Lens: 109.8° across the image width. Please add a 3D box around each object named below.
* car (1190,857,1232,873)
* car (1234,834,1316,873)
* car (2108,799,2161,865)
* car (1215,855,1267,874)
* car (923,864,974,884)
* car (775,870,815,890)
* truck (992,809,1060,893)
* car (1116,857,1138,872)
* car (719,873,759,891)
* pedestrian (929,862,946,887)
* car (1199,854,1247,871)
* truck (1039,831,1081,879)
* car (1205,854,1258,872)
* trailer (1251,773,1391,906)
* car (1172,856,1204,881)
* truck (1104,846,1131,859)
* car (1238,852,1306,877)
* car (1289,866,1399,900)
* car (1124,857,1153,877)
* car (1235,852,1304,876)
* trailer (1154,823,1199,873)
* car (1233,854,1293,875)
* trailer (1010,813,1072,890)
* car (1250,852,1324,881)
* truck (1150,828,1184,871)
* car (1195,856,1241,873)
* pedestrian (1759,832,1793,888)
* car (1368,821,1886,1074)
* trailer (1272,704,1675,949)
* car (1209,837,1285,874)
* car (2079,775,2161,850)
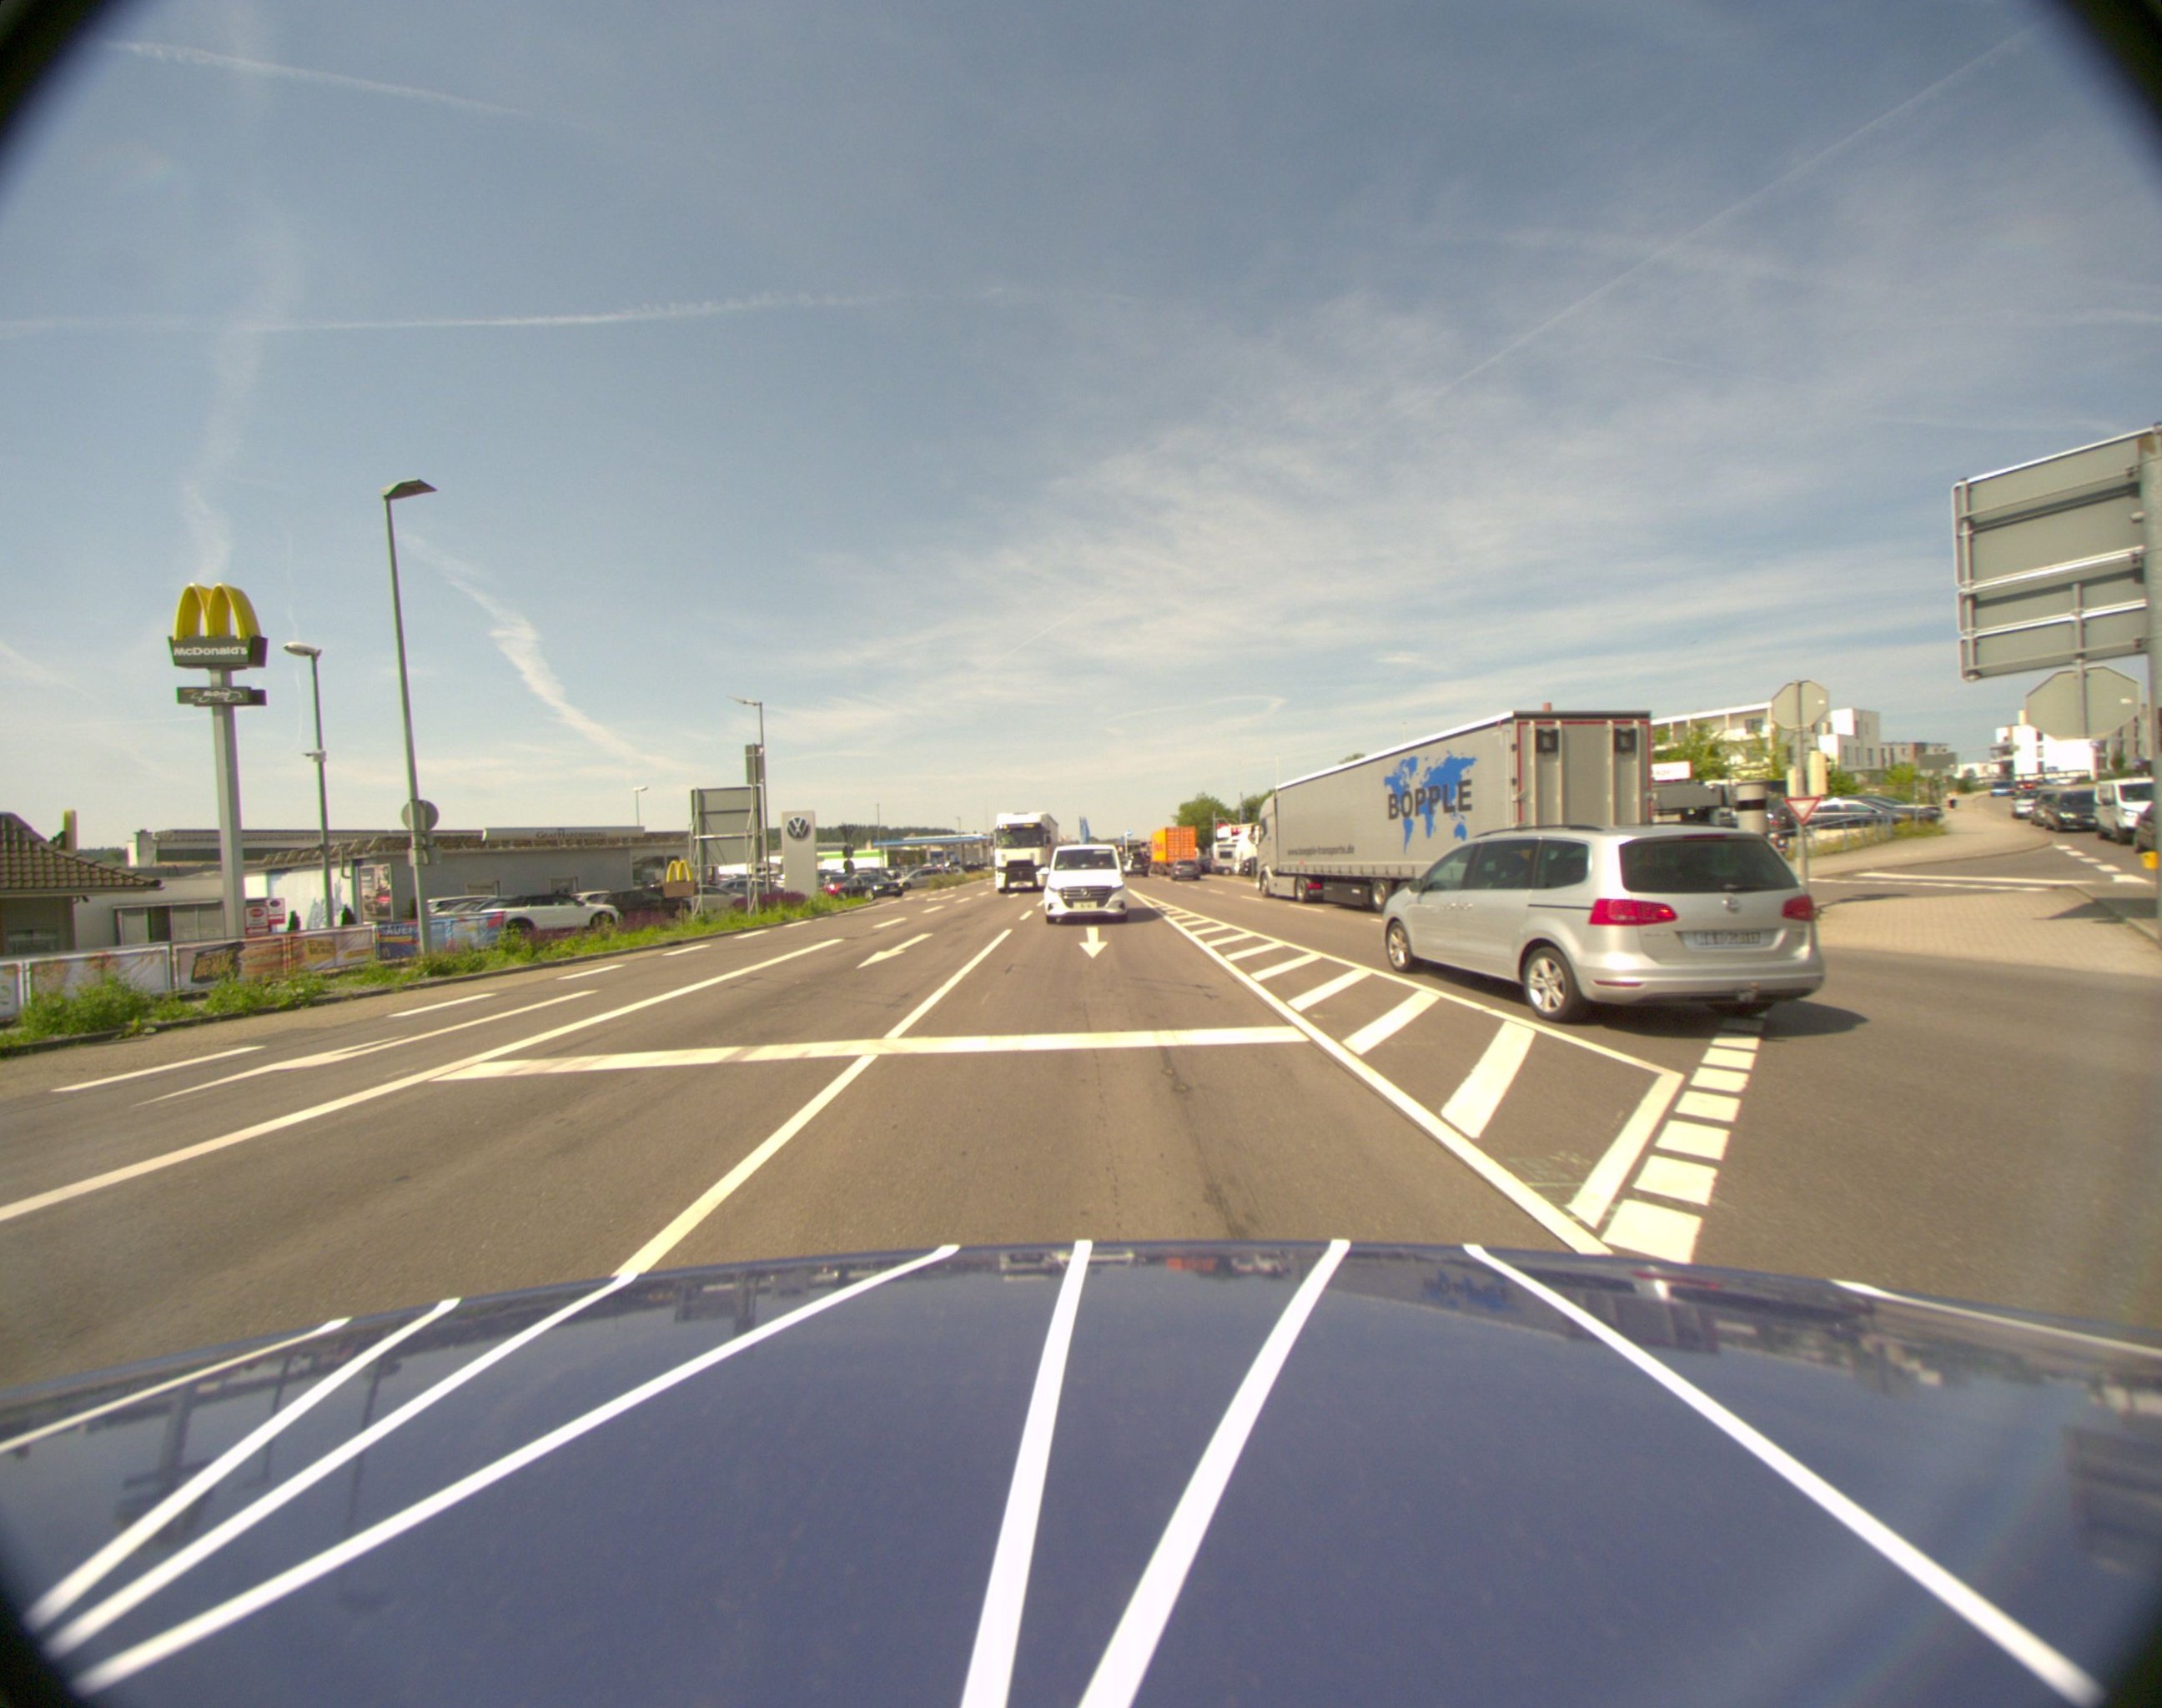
[{"bbox_3d":[12.992,1.074,76.052,3.996,1.474,1.756,-2,0,3],"label":"car"},{"bbox_3d":[14.859,-0.009,58.447,5.722,2.821,2.117,-2,-1,3],"label":"car"},{"bbox_3d":[27.806,-0.634,18.990,4.982,1.411,1.944,-6,3,-43],"label":"car"},{"bbox_3d":[13.360,0.892,63.629,3.947,1.423,1.828,-2,0,3],"label":"car"},{"bbox_3d":[-11.506,1.694,65.874,4.005,1.549,1.709,-2,0,-27],"label":"car"},{"bbox_3d":[-28.290,2.546,75.350,1.821,1.719,4.540,-2,0,6],"label":"car"},{"bbox_3d":[-2.733,-0.132,39.456,2.647,3.963,6.043,-2,0,3],"label":"truck"},{"bbox_3d":[4.670,1.067,77.738,1.866,1.515,4.589,-1,-1,0],"label":"car"},{"bbox_3d":[-35.583,2.896,79.162,1.774,1.644,4.540,-2,0,6],"label":"car"},{"bbox_3d":[-11.093,1.548,58.697,0.990,1.900,0.742,-2,1,-33],"label":"pedestrian"},{"bbox_3d":[12.805,0.754,68.764,3.997,1.445,1.906,-2,0,1],"label":"car"},{"bbox_3d":[-1.749,0.069,67.995,2.646,3.963,9.242,-2,0,5],"label":"truck"},{"bbox_3d":[13.066,0.778,66.195,4.258,1.459,1.874,-2,0,2],"label":"car"},{"bbox_3d":[8.167,-0.441,26.766,2.653,4.081,6.179,-2,0,-3],"label":"trailer"},{"bbox_3d":[7.224,0.961,51.540,1.925,1.592,4.591,-1,-1,5],"label":"car"},{"bbox_3d":[8.581,-0.344,180.233,6.041,2.820,2.442,-2,0,-8],"label":"truck"},{"bbox_3d":[12.689,0.710,50.698,4.044,1.521,2.031,-2,0,1],"label":"car"},{"bbox_3d":[12.823,1.447,37.257,4.629,1.427,1.978,-4,-1,44],"label":"car"},{"bbox_3d":[4.677,1.042,62.215,1.913,1.592,4.588,0,-1,-1],"label":"car"},{"bbox_3d":[13.245,0.711,53.558,4.378,1.521,2.029,-2,0,0],"label":"car"},{"bbox_3d":[8.285,-0.454,67.486,2.727,3.975,12.236,-2,0,2],"label":"trailer"},{"bbox_3d":[13.399,0.760,56.113,3.996,1.461,1.881,-2,0,3],"label":"car"},{"bbox_3d":[-2.275,-0.137,47.612,2.613,4.203,11.294,-2,0,3],"label":"trailer"},{"bbox_3d":[12.906,0.757,47.584,4.189,1.613,2.026,-2,0,-27],"label":"car"},{"bbox_3d":[8.469,-0.415,75.014,2.727,3.975,6.058,-2,0,2],"label":"truck"},{"bbox_3d":[12.819,0.959,71.431,3.996,1.443,1.946,-2,0,1],"label":"car"},{"bbox_3d":[19.587,0.173,21.418,0.385,1.526,0.495,-7,2,-11],"label":"pedestrian"},{"bbox_3d":[4.838,0.704,7.805,1.848,1.722,4.588,-3,-1,-1],"label":"car"},{"bbox_3d":[8.488,-0.471,19.920,2.699,4.123,13.875,-2,0,-3],"label":"trailer"},{"bbox_3d":[13.232,0.133,60.917,5.579,2.756,2.177,-2,0,3],"label":"car"},{"bbox_3d":[33.083,-1.359,23.470,5.524,2.030,2.063,-6,1,-43],"label":"car"}]
